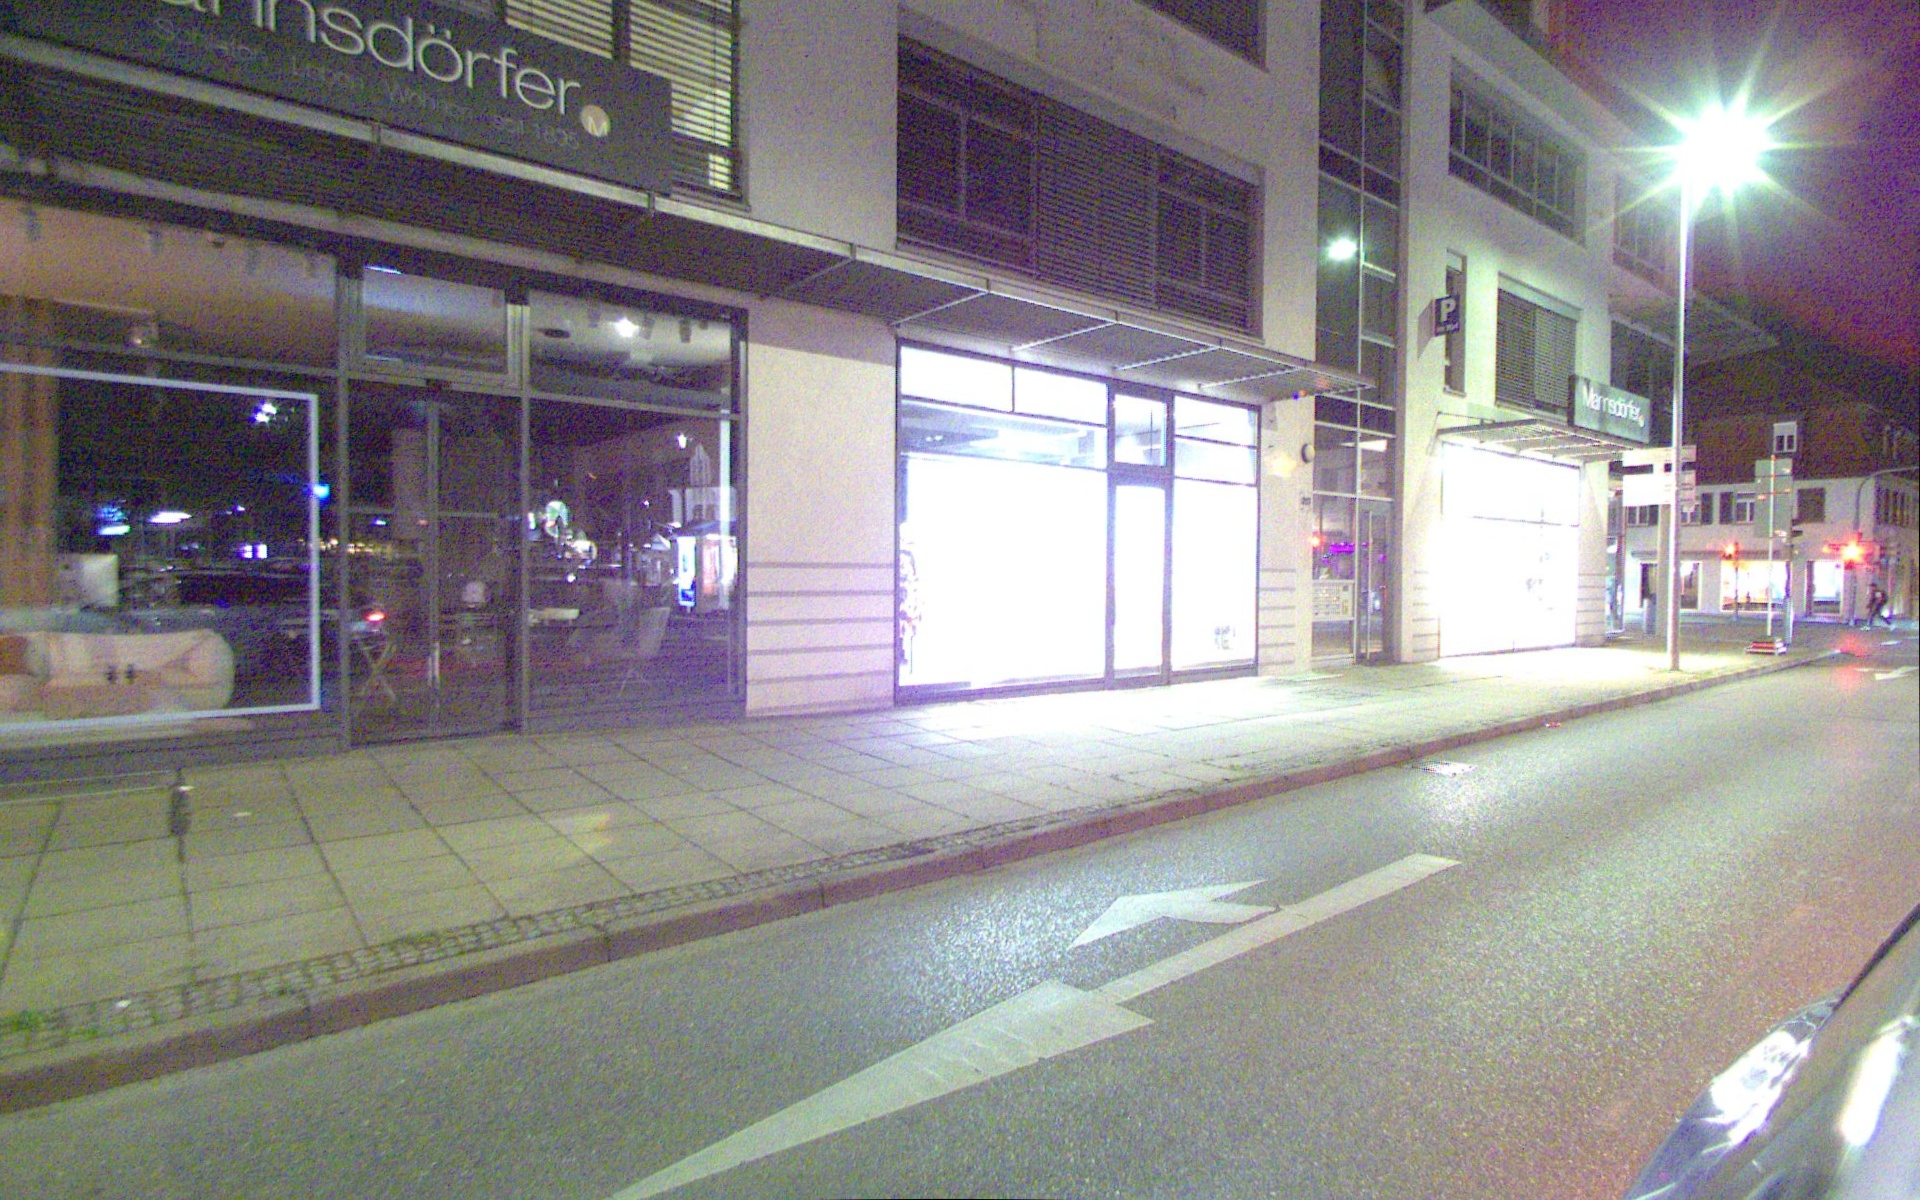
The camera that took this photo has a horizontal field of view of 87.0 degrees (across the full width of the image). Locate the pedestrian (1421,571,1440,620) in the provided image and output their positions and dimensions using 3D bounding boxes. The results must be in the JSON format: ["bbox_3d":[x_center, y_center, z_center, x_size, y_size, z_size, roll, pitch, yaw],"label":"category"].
[{"bbox_3d":[16.552,-0.173,35.600,0.478,1.708,0.407,0,0,-36],"label":"pedestrian"}]

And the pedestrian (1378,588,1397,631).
[{"bbox_3d":[17.531,0.399,41.480,0.557,1.738,0.524,0,0,-41],"label":"pedestrian"}]

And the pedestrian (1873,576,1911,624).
[{"bbox_3d":[34.744,-0.023,37.728,0.635,1.755,0.877,0,2,-37],"label":"pedestrian"}]
